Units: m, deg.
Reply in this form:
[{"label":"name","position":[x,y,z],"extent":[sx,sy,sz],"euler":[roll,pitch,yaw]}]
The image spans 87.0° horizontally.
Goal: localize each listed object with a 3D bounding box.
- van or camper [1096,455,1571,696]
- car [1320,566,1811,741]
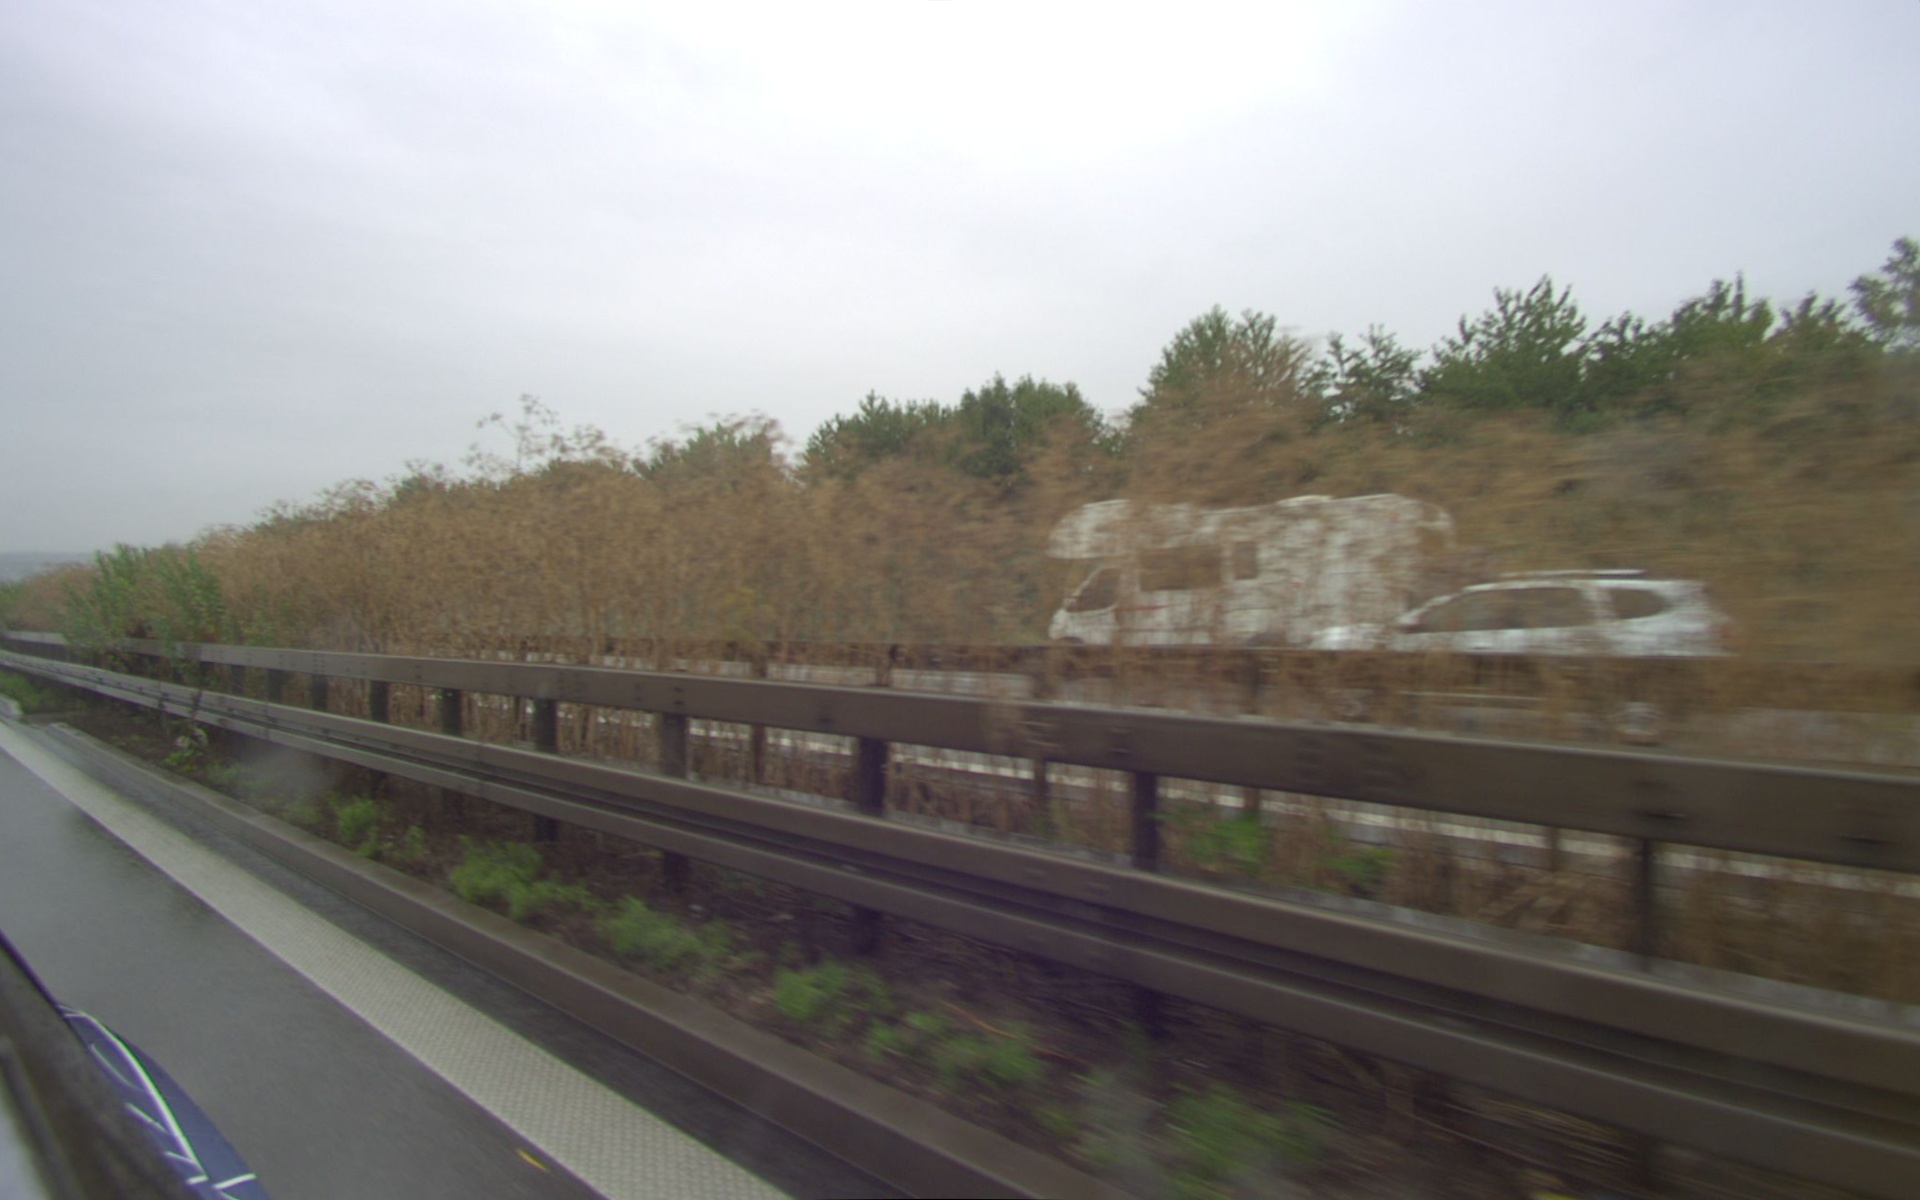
[{"label":"van or camper","position":[5.635,-0.267,16.025],"extent":[6.566,3.064,2.559],"euler":[-1,-1,41]},{"label":"car","position":[5.991,0.474,10.353],"extent":[4.126,1.468,1.409],"euler":[-1,-1,41]}]
